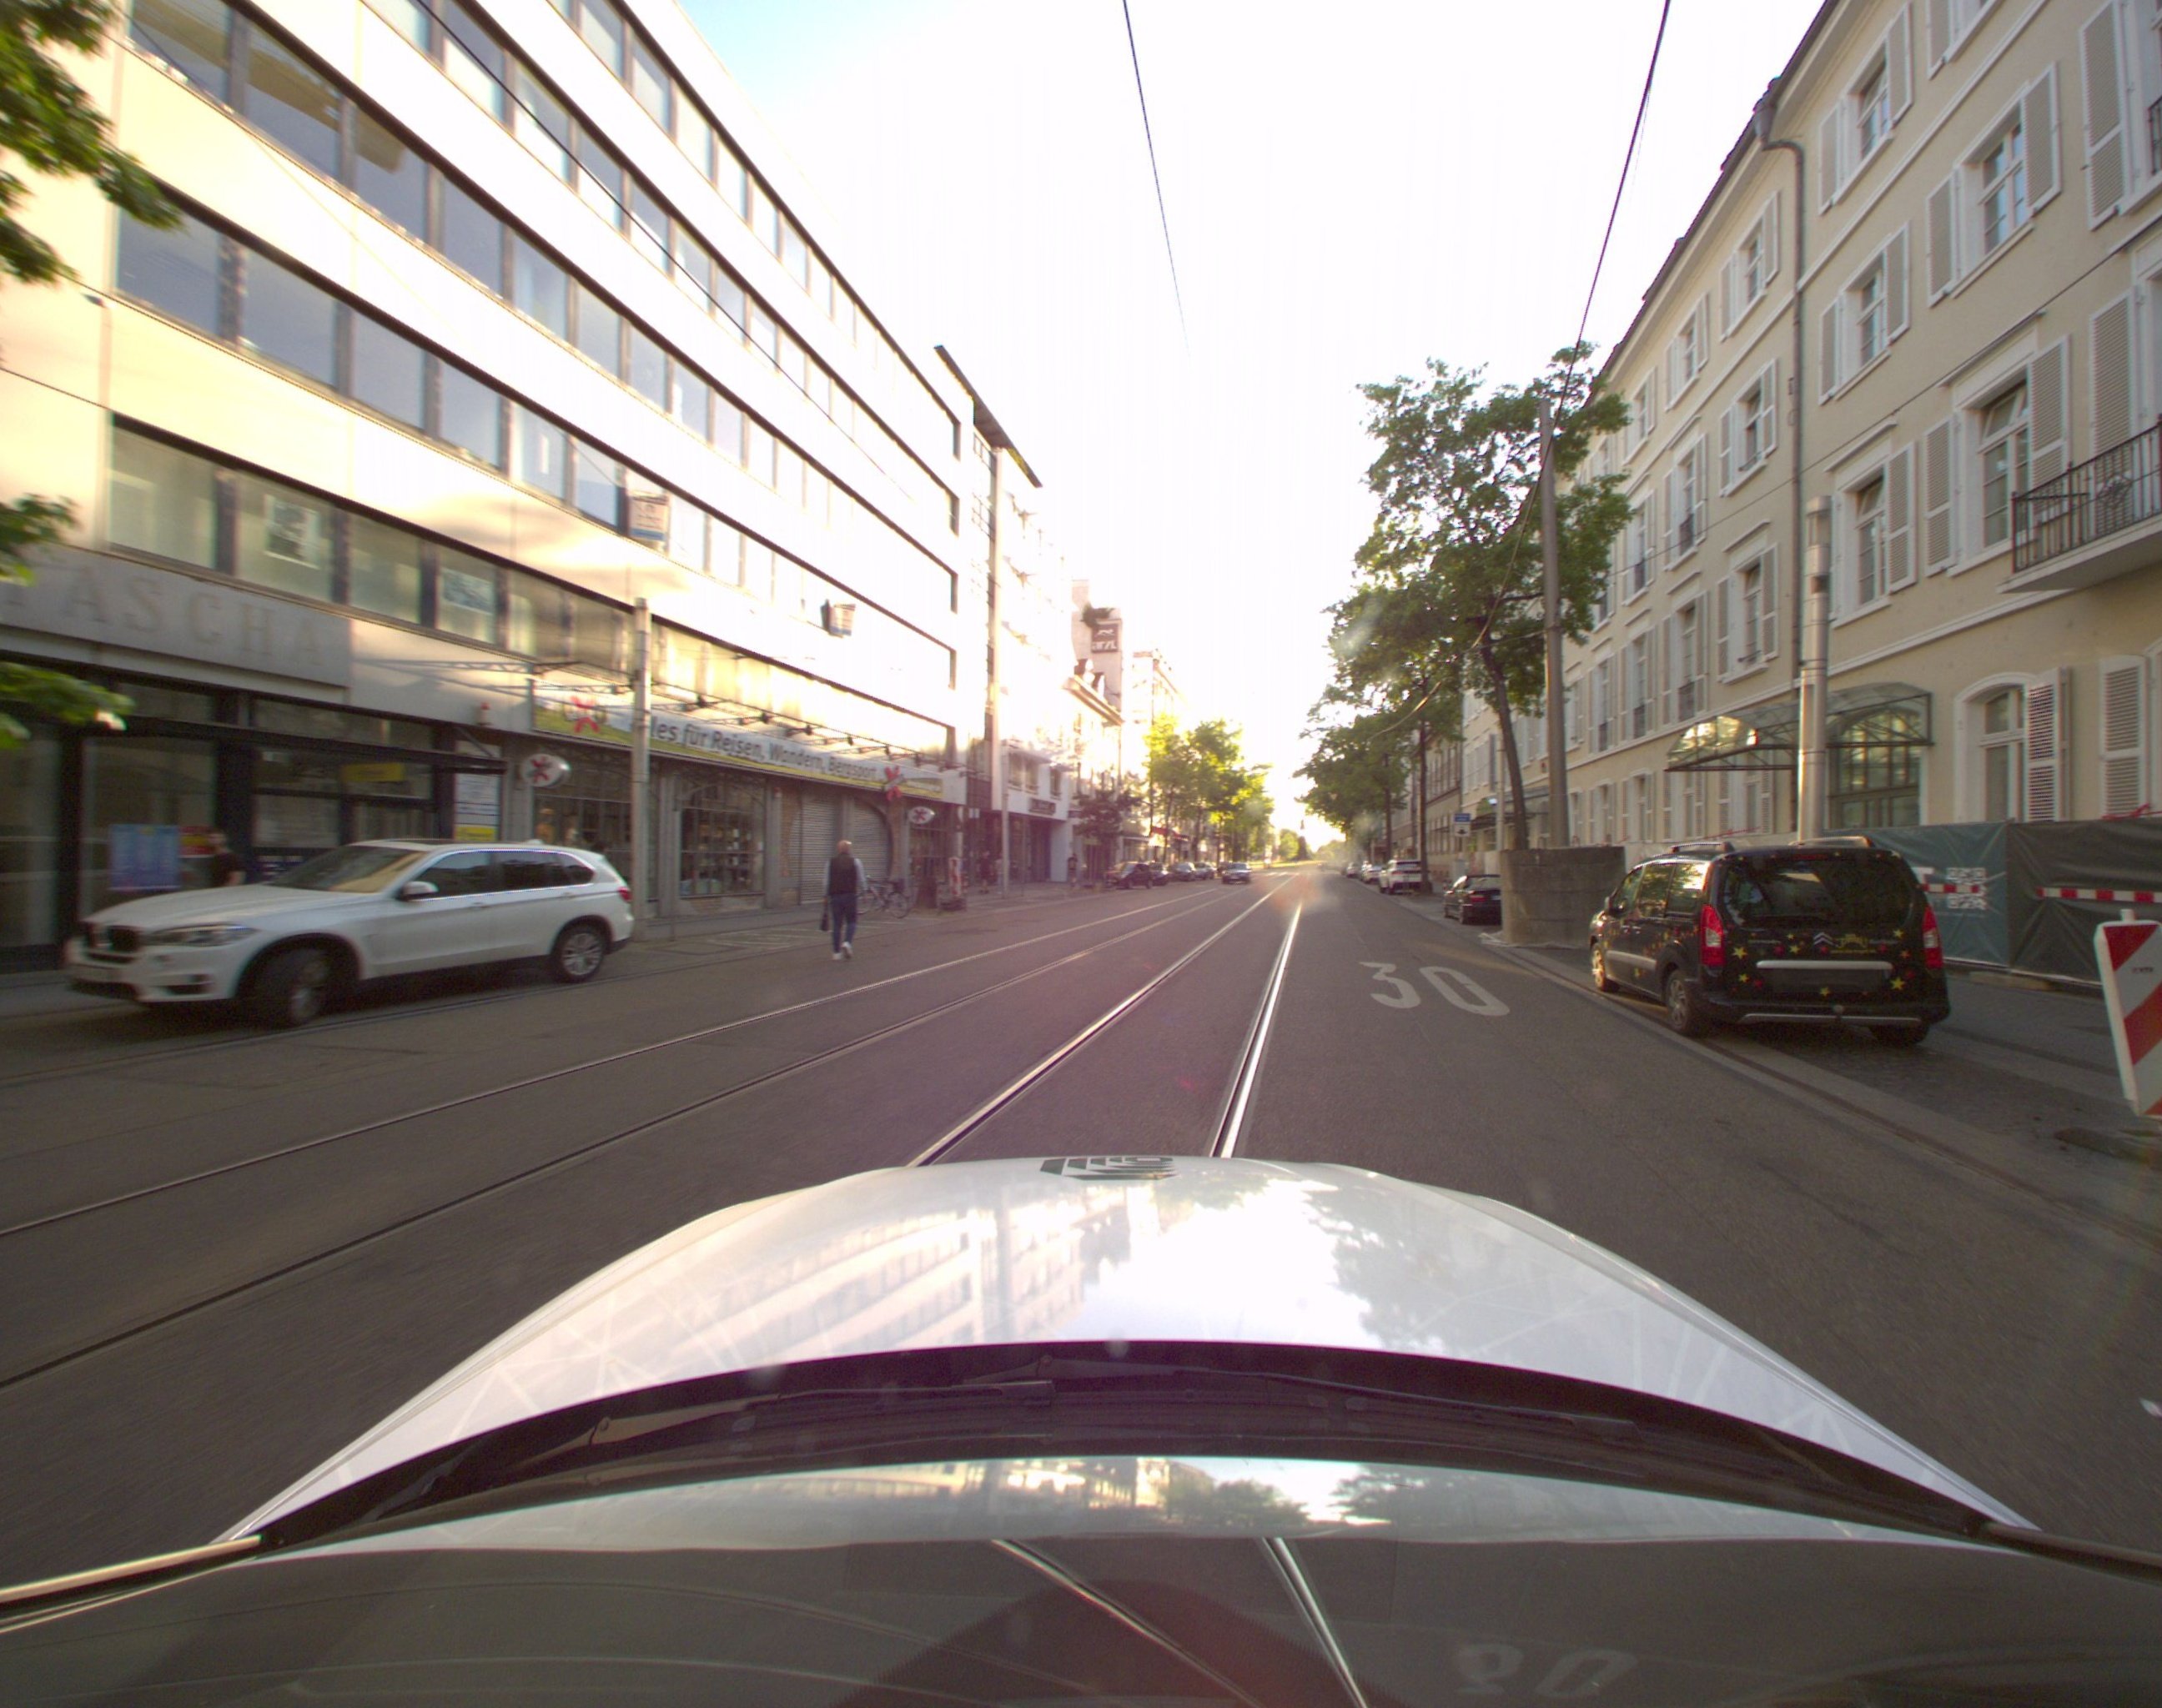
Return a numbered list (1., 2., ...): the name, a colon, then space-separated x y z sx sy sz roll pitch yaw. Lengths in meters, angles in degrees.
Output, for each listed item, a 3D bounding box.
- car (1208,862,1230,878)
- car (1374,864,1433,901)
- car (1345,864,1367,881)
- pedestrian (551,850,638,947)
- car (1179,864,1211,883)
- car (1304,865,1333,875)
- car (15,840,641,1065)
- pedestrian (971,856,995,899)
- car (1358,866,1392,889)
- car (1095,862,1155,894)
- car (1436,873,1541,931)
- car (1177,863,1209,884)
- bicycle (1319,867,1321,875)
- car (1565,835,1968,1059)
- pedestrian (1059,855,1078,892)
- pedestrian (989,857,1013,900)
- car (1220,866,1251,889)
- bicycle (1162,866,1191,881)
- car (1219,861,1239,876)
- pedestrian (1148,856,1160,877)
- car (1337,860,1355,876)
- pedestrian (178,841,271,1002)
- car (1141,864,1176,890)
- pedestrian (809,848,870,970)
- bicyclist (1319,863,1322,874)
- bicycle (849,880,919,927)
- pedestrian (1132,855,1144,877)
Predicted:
1. car: 13.506 1.526 79.615 1.653 1.428 3.843 3 1 16
2. car: 15.773 1.363 40.091 1.983 1.688 4.986 -2 -1 14
3. car: 27.824 1.851 82.568 1.978 1.498 4.700 -3 -1 17
4. pedestrian: -9.051 0.793 15.185 0.826 1.695 1.042 3 1 16
5. car: 9.559 1.567 68.017 1.752 1.497 4.196 1 0 21
6. car: 40.825 2.705 139.780 4.636 1.684 2.010 0 0 18
7. car: -7.681 0.792 9.150 1.978 1.754 4.764 2 1 16
8. pedestrian: -4.029 0.966 33.591 0.622 1.712 0.811 2 0 20
9. car: 20.415 1.606 56.658 1.897 1.420 4.909 -2 -1 17
10. car: 2.454 1.272 44.249 1.615 1.616 3.731 3 1 31
11. car: 10.792 1.216 21.871 1.780 1.311 4.348 -2 -1 17
12. car: 8.561 1.429 62.017 1.698 1.461 4.506 2 0 17
13. bicycle: 33.190 2.360 113.039 0.262 0.982 1.344 0 0 16
14. car: 6.894 0.777 8.892 1.936 1.793 4.337 -2 -1 20
15. pedestrian: -0.635 1.006 41.744 0.655 1.825 0.882 3 1 17
16. pedestrian: -3.280 0.994 33.511 0.636 1.712 0.833 2 0 20
17. car: 10.336 1.551 54.291 1.766 1.407 4.545 0 0 14
18. bicycle: 6.693 1.342 56.987 1.955 1.001 0.332 1 0 19
19. car: 17.623 1.752 96.897 1.822 1.580 4.134 4 1 17
20. pedestrian: 5.761 0.982 64.503 0.837 1.693 0.743 0 0 16
21. car: 32.572 1.724 100.142 1.923 1.759 4.700 -3 -1 16
22. pedestrian: -11.080 0.842 10.547 0.610 2.013 0.595 0 0 15
23. car: 5.031 1.453 52.288 1.780 1.490 4.255 2 0 11
24. pedestrian: -3.677 0.800 12.395 0.853 1.766 0.827 0 0 -18
25. bicyclist: 33.211 1.998 113.083 0.425 1.481 0.468 0 0 17
26. bicycle: -4.992 1.241 20.644 1.730 0.992 0.481 4 2 24
27. pedestrian: 4.510 0.930 64.557 0.783 1.693 0.917 0 0 16
